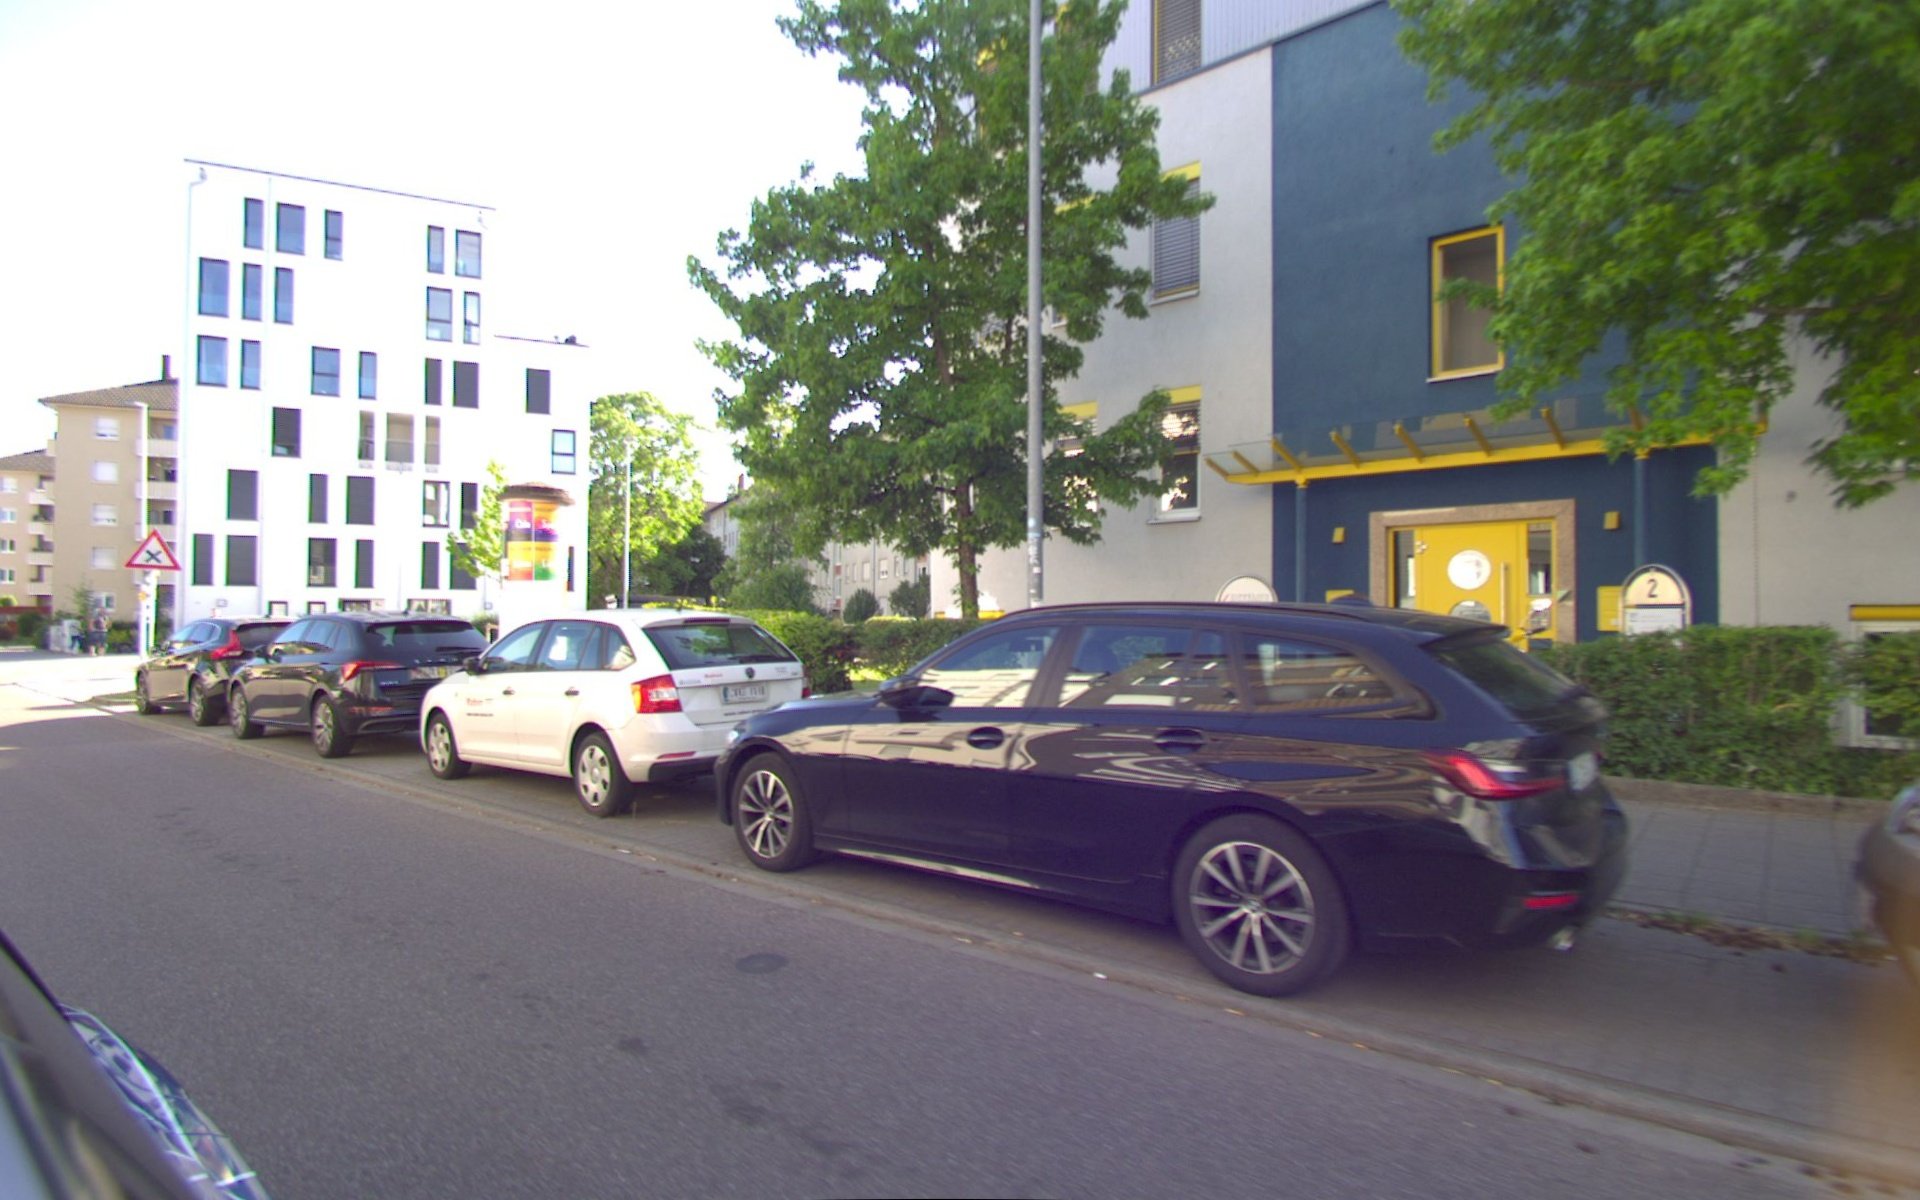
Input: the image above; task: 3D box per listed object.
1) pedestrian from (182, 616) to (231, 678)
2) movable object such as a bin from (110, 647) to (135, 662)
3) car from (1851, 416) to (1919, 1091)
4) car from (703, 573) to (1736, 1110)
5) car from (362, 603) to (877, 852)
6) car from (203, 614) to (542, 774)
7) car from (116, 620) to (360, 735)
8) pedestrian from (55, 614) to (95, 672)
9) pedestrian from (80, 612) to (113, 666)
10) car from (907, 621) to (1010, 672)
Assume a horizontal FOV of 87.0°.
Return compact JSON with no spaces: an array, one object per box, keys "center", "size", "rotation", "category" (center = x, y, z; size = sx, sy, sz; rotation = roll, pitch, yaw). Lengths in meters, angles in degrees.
[{"center":[-21.429,1.339,28.798],"size":[0.962,1.727,0.876],"rotation":[1,-2,-28],"category":"pedestrian"},{"center":[-32.338,2.104,39.076],"size":[0.676,0.546,0.272],"rotation":[1,-2,-4],"category":"movable object such as a bin"},{"center":[4.670,0.416,1.897],"size":[4.335,1.853,1.671],"rotation":[-2,-2,38],"category":"car"},{"center":[0.806,0.720,4.936],"size":[4.610,1.450,1.714],"rotation":[-2,-2,42],"category":"car"},{"center":[-3.020,0.830,8.473],"size":[4.619,1.541,1.890],"rotation":[-1,-2,39],"category":"car"},{"center":[-6.817,0.916,11.563],"size":[4.375,1.490,1.890],"rotation":[-1,-2,39],"category":"car"},{"center":[-10.485,1.017,14.590],"size":[4.218,1.421,1.771],"rotation":[-1,-2,39],"category":"car"},{"center":[-33.415,1.612,38.203],"size":[0.951,2.137,0.771],"rotation":[-1,-1,19],"category":"pedestrian"},{"center":[-30.890,1.393,36.212],"size":[0.778,1.899,0.849],"rotation":[2,-1,-35],"category":"pedestrian"},{"center":[-0.114,1.701,36.364],"size":[1.965,1.712,4.306],"rotation":[2,-3,-27],"category":"car"}]
